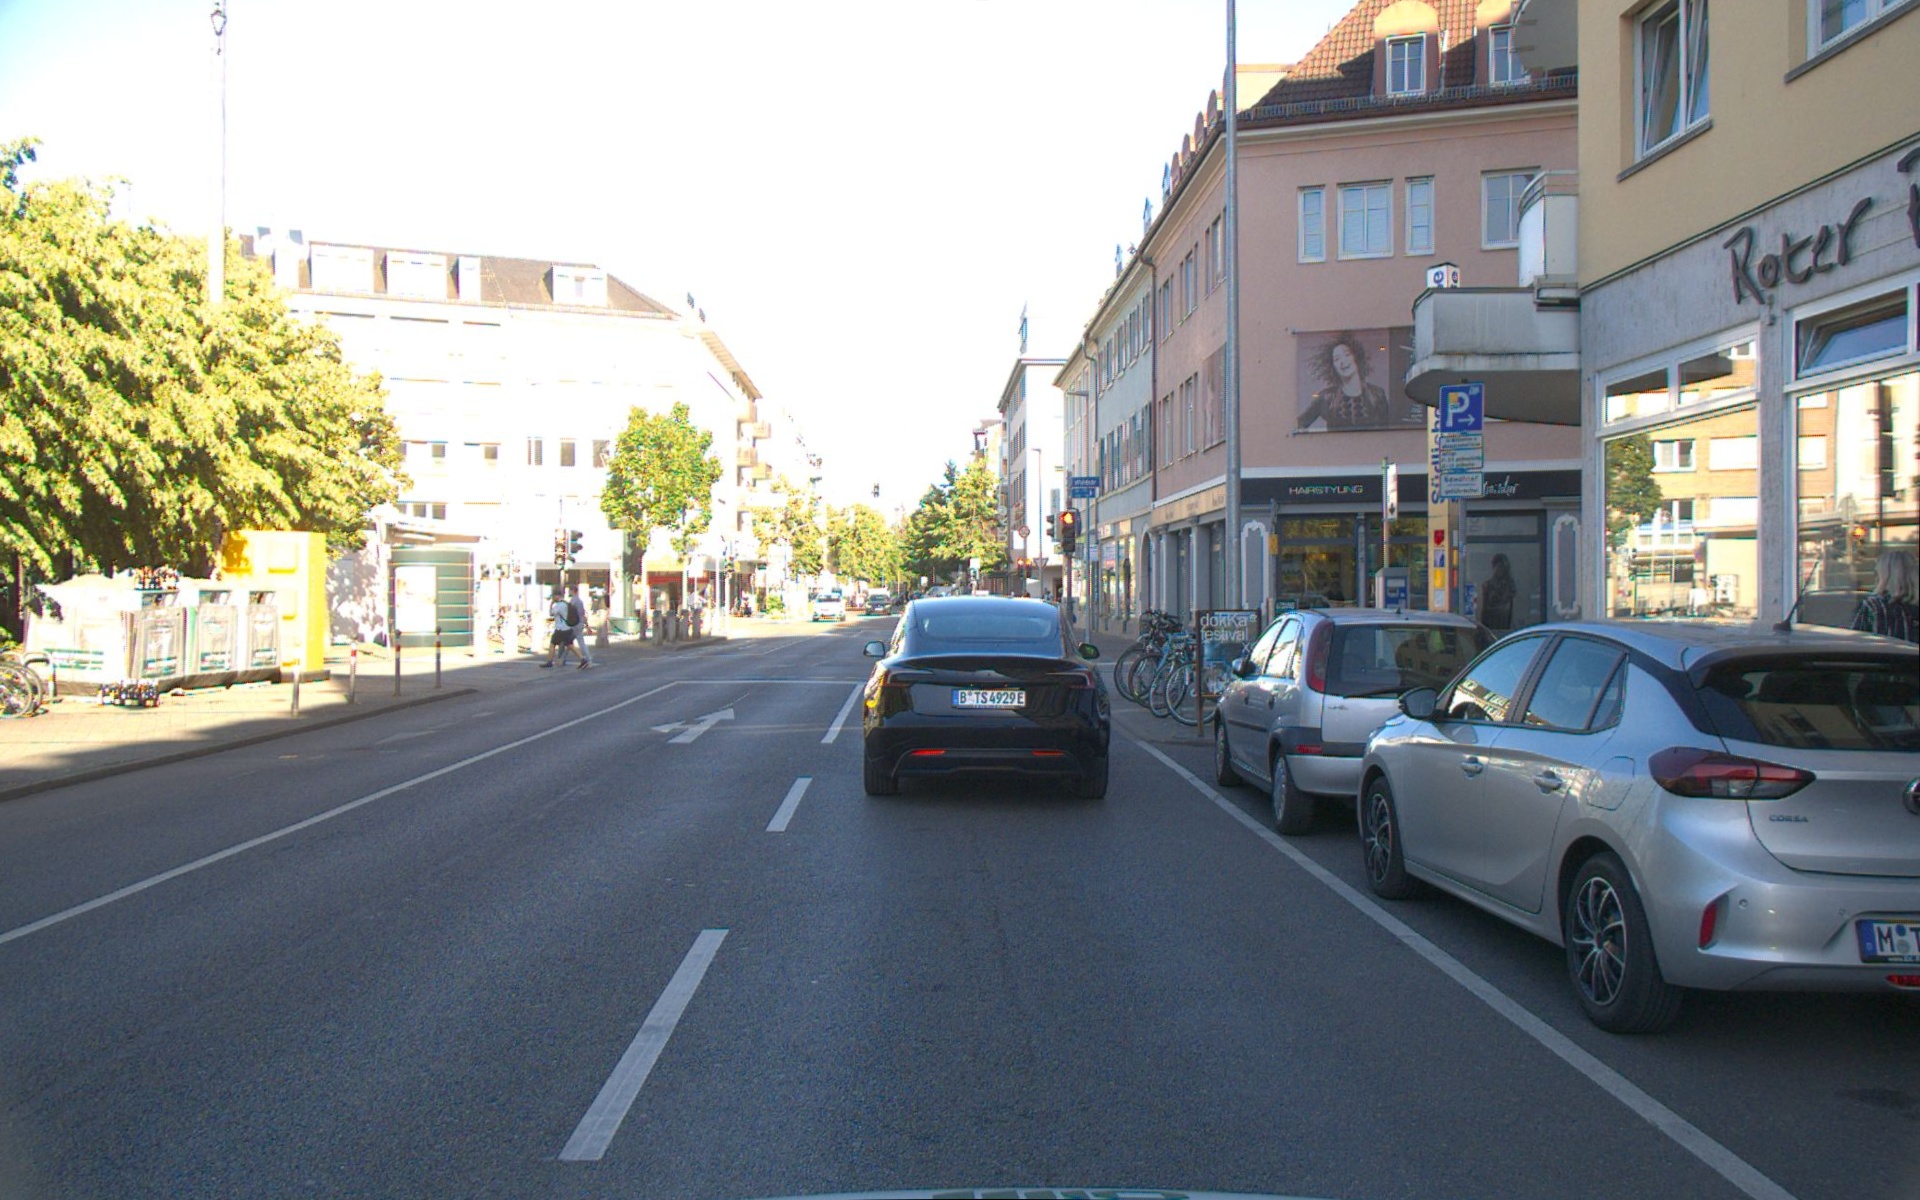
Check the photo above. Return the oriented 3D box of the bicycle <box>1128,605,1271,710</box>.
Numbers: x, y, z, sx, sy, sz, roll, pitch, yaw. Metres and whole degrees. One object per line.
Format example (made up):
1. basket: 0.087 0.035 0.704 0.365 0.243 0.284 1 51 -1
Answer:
1. bicycle: 2.821 0.670 19.507 1.595 1.180 0.432 -2 0 -2

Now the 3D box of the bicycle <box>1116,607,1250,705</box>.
1. bicycle: 2.803 0.697 20.815 1.595 1.180 0.432 -2 0 -2

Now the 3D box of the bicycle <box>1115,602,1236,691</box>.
1. bicycle: 2.997 0.646 23.071 1.594 1.180 0.433 -2 0 0

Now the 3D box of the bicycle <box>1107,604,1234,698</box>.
1. bicycle: 2.781 0.664 21.890 1.595 1.180 0.432 -2 0 -2
